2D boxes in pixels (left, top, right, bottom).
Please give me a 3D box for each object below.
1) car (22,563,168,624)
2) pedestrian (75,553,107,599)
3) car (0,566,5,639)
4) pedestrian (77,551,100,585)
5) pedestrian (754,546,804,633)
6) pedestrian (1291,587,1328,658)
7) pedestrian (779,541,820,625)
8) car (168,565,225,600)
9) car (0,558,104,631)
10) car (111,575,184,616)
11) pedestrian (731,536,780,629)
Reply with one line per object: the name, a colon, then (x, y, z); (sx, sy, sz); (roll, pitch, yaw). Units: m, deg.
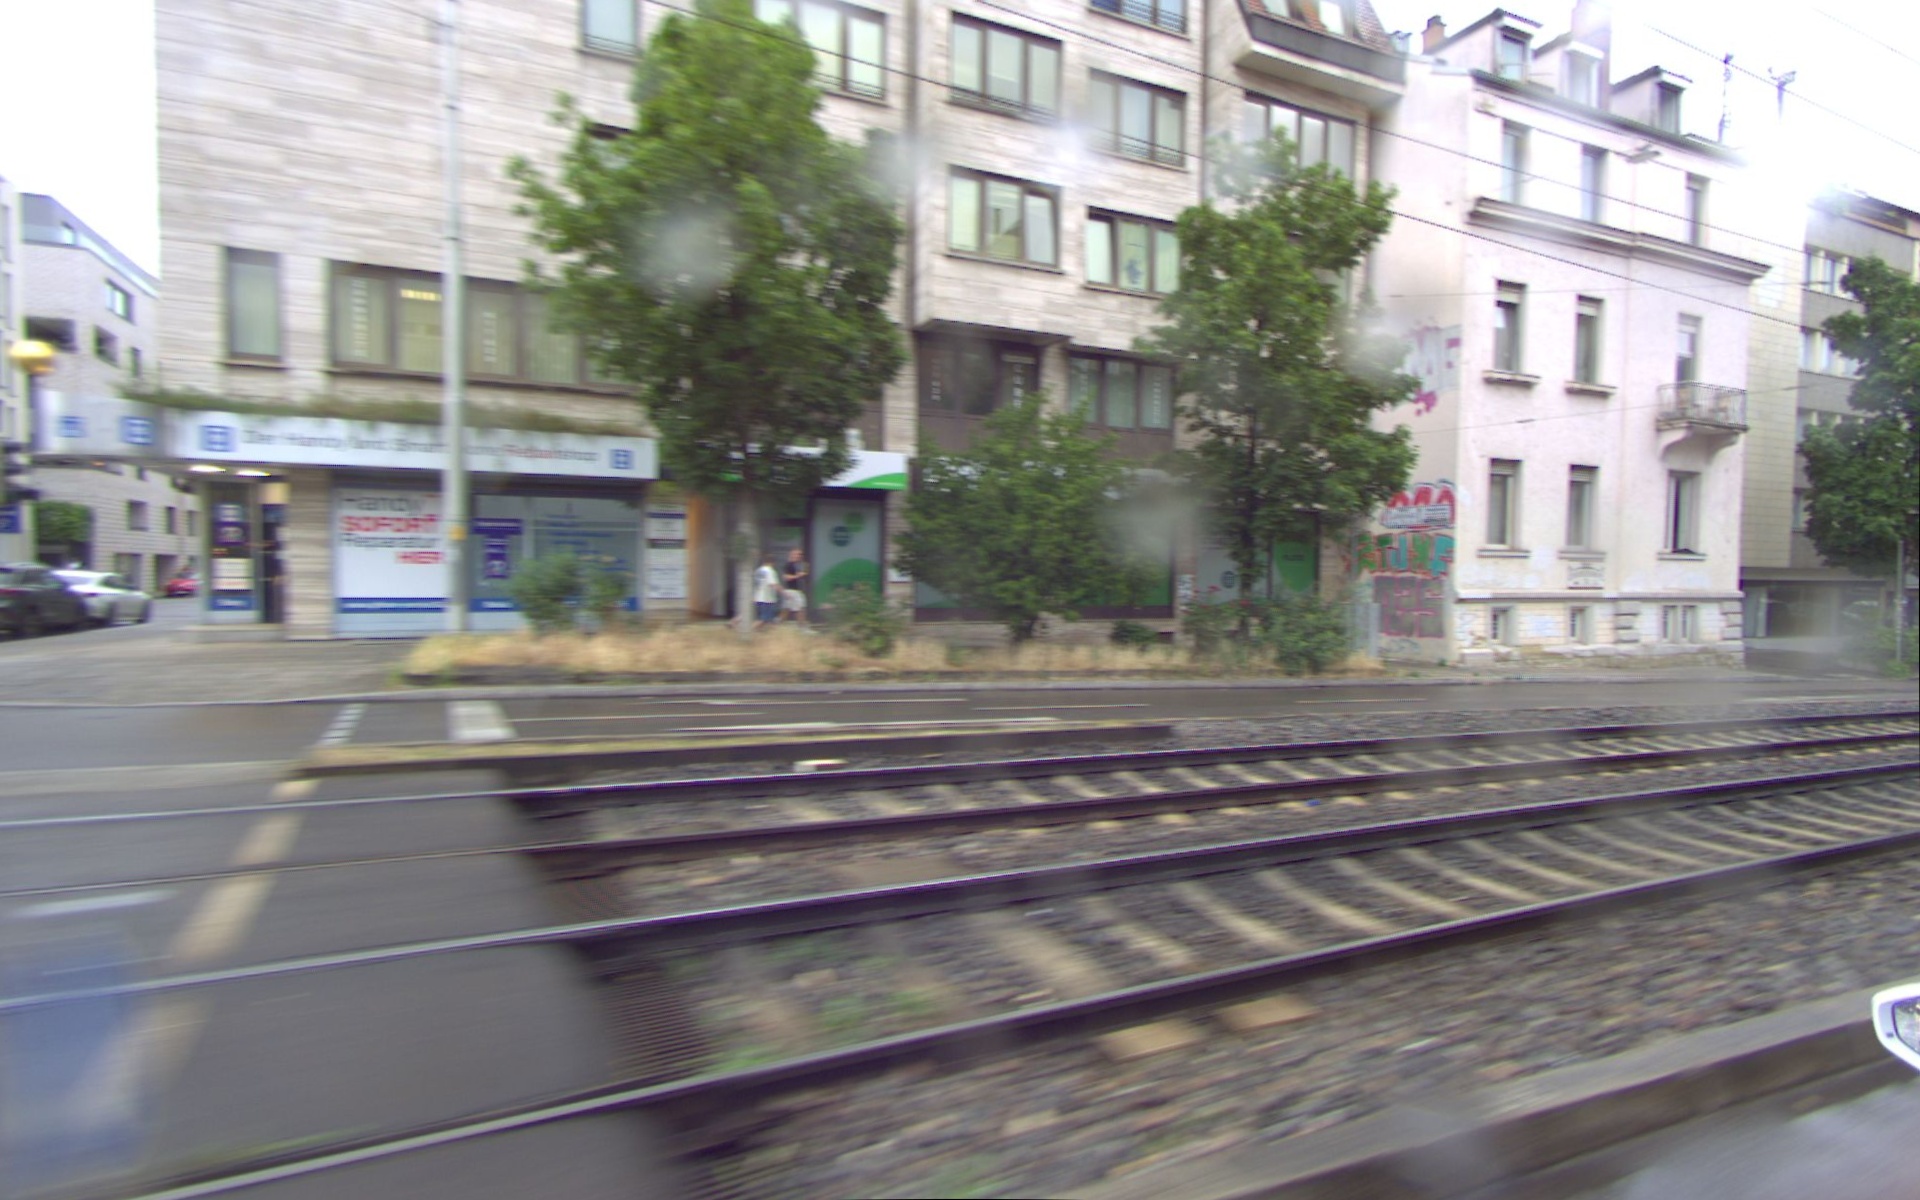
car: (-21.822, -0.215, 25.539); (1.573, 1.335, 4.473); (4, 0, -25)
pedestrian: (-39.232, -1.075, 45.364); (0.805, 1.974, 0.853); (4, 2, -25)
car: (-17.795, 0.043, 16.599); (1.571, 1.335, 3.686); (4, 0, -21)
pedestrian: (-42.715, -1.585, 49.227); (0.654, 1.609, 0.538); (4, 2, -23)
pedestrian: (-3.430, -0.204, 18.984); (0.675, 1.569, 0.645); (4, 2, -27)
pedestrian: (8.507, 0.555, 24.451); (0.577, 1.674, 0.464); (3, 2, -37)
pedestrian: (-3.222, -0.343, 20.203); (0.578, 1.619, 0.502); (4, 2, -27)
car: (-42.336, -0.988, 55.793); (1.779, 1.617, 3.970); (4, 2, -28)
car: (-19.753, -0.163, 21.183); (1.573, 1.335, 3.682); (4, 0, -25)
car: (-34.737, -0.201, 43.044); (1.545, 1.439, 3.590); (4, 2, -25)
pedestrian: (-4.020, -0.351, 19.704); (0.675, 1.747, 0.645); (4, 2, -27)
